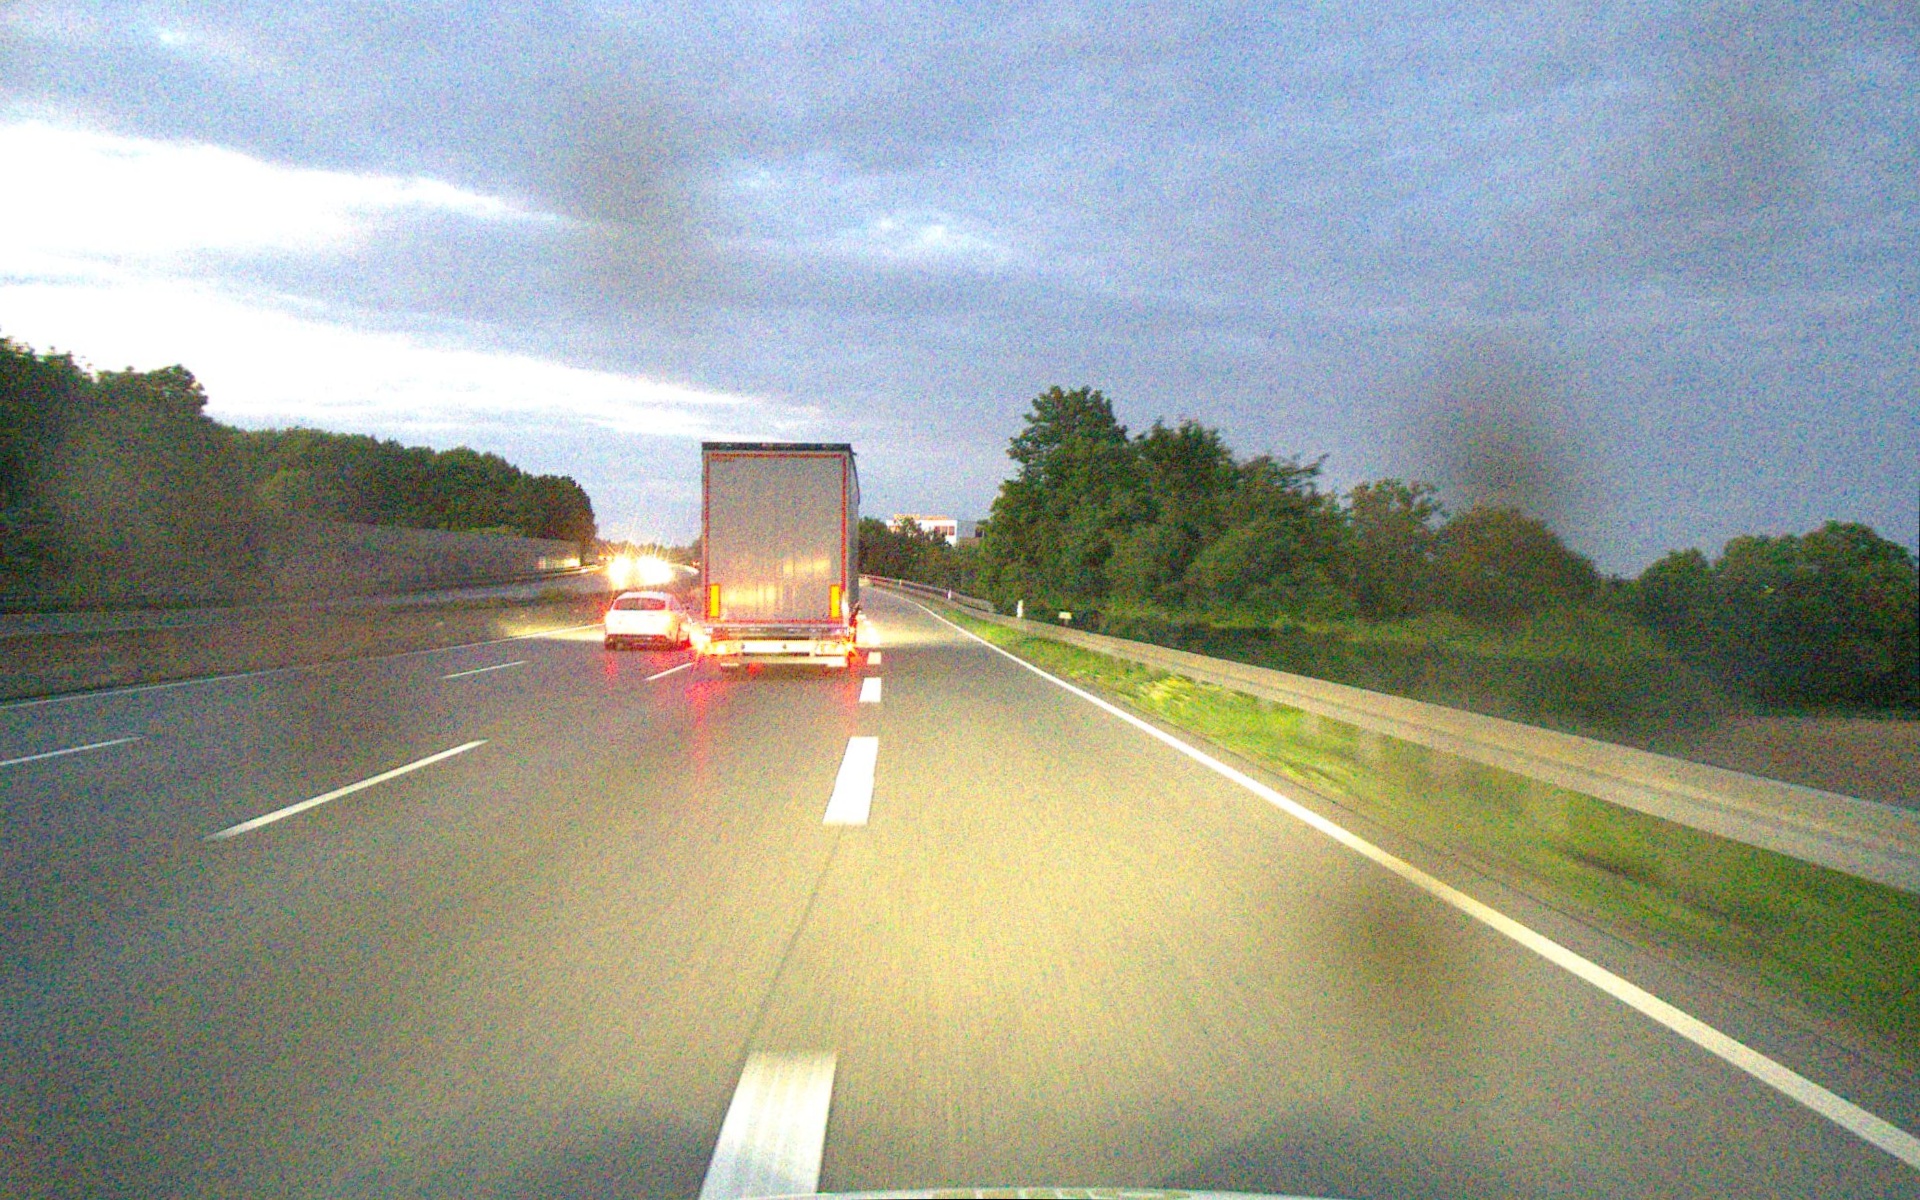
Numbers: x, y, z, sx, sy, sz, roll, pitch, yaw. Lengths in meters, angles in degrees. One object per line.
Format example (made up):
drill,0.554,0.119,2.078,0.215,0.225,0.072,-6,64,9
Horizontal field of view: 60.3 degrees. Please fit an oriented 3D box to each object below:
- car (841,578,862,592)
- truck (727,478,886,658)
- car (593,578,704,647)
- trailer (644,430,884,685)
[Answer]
car,-12.140,-1.637,184.997,1.956,1.378,3.992,2,-2,-8
truck,-3.692,-0.747,41.378,3.478,4.162,6.150,0,0,-1
car,-7.984,0.376,42.831,1.867,1.643,4.803,1,-2,0
trailer,-3.568,-0.720,34.724,3.478,4.188,15.060,0,0,-1
